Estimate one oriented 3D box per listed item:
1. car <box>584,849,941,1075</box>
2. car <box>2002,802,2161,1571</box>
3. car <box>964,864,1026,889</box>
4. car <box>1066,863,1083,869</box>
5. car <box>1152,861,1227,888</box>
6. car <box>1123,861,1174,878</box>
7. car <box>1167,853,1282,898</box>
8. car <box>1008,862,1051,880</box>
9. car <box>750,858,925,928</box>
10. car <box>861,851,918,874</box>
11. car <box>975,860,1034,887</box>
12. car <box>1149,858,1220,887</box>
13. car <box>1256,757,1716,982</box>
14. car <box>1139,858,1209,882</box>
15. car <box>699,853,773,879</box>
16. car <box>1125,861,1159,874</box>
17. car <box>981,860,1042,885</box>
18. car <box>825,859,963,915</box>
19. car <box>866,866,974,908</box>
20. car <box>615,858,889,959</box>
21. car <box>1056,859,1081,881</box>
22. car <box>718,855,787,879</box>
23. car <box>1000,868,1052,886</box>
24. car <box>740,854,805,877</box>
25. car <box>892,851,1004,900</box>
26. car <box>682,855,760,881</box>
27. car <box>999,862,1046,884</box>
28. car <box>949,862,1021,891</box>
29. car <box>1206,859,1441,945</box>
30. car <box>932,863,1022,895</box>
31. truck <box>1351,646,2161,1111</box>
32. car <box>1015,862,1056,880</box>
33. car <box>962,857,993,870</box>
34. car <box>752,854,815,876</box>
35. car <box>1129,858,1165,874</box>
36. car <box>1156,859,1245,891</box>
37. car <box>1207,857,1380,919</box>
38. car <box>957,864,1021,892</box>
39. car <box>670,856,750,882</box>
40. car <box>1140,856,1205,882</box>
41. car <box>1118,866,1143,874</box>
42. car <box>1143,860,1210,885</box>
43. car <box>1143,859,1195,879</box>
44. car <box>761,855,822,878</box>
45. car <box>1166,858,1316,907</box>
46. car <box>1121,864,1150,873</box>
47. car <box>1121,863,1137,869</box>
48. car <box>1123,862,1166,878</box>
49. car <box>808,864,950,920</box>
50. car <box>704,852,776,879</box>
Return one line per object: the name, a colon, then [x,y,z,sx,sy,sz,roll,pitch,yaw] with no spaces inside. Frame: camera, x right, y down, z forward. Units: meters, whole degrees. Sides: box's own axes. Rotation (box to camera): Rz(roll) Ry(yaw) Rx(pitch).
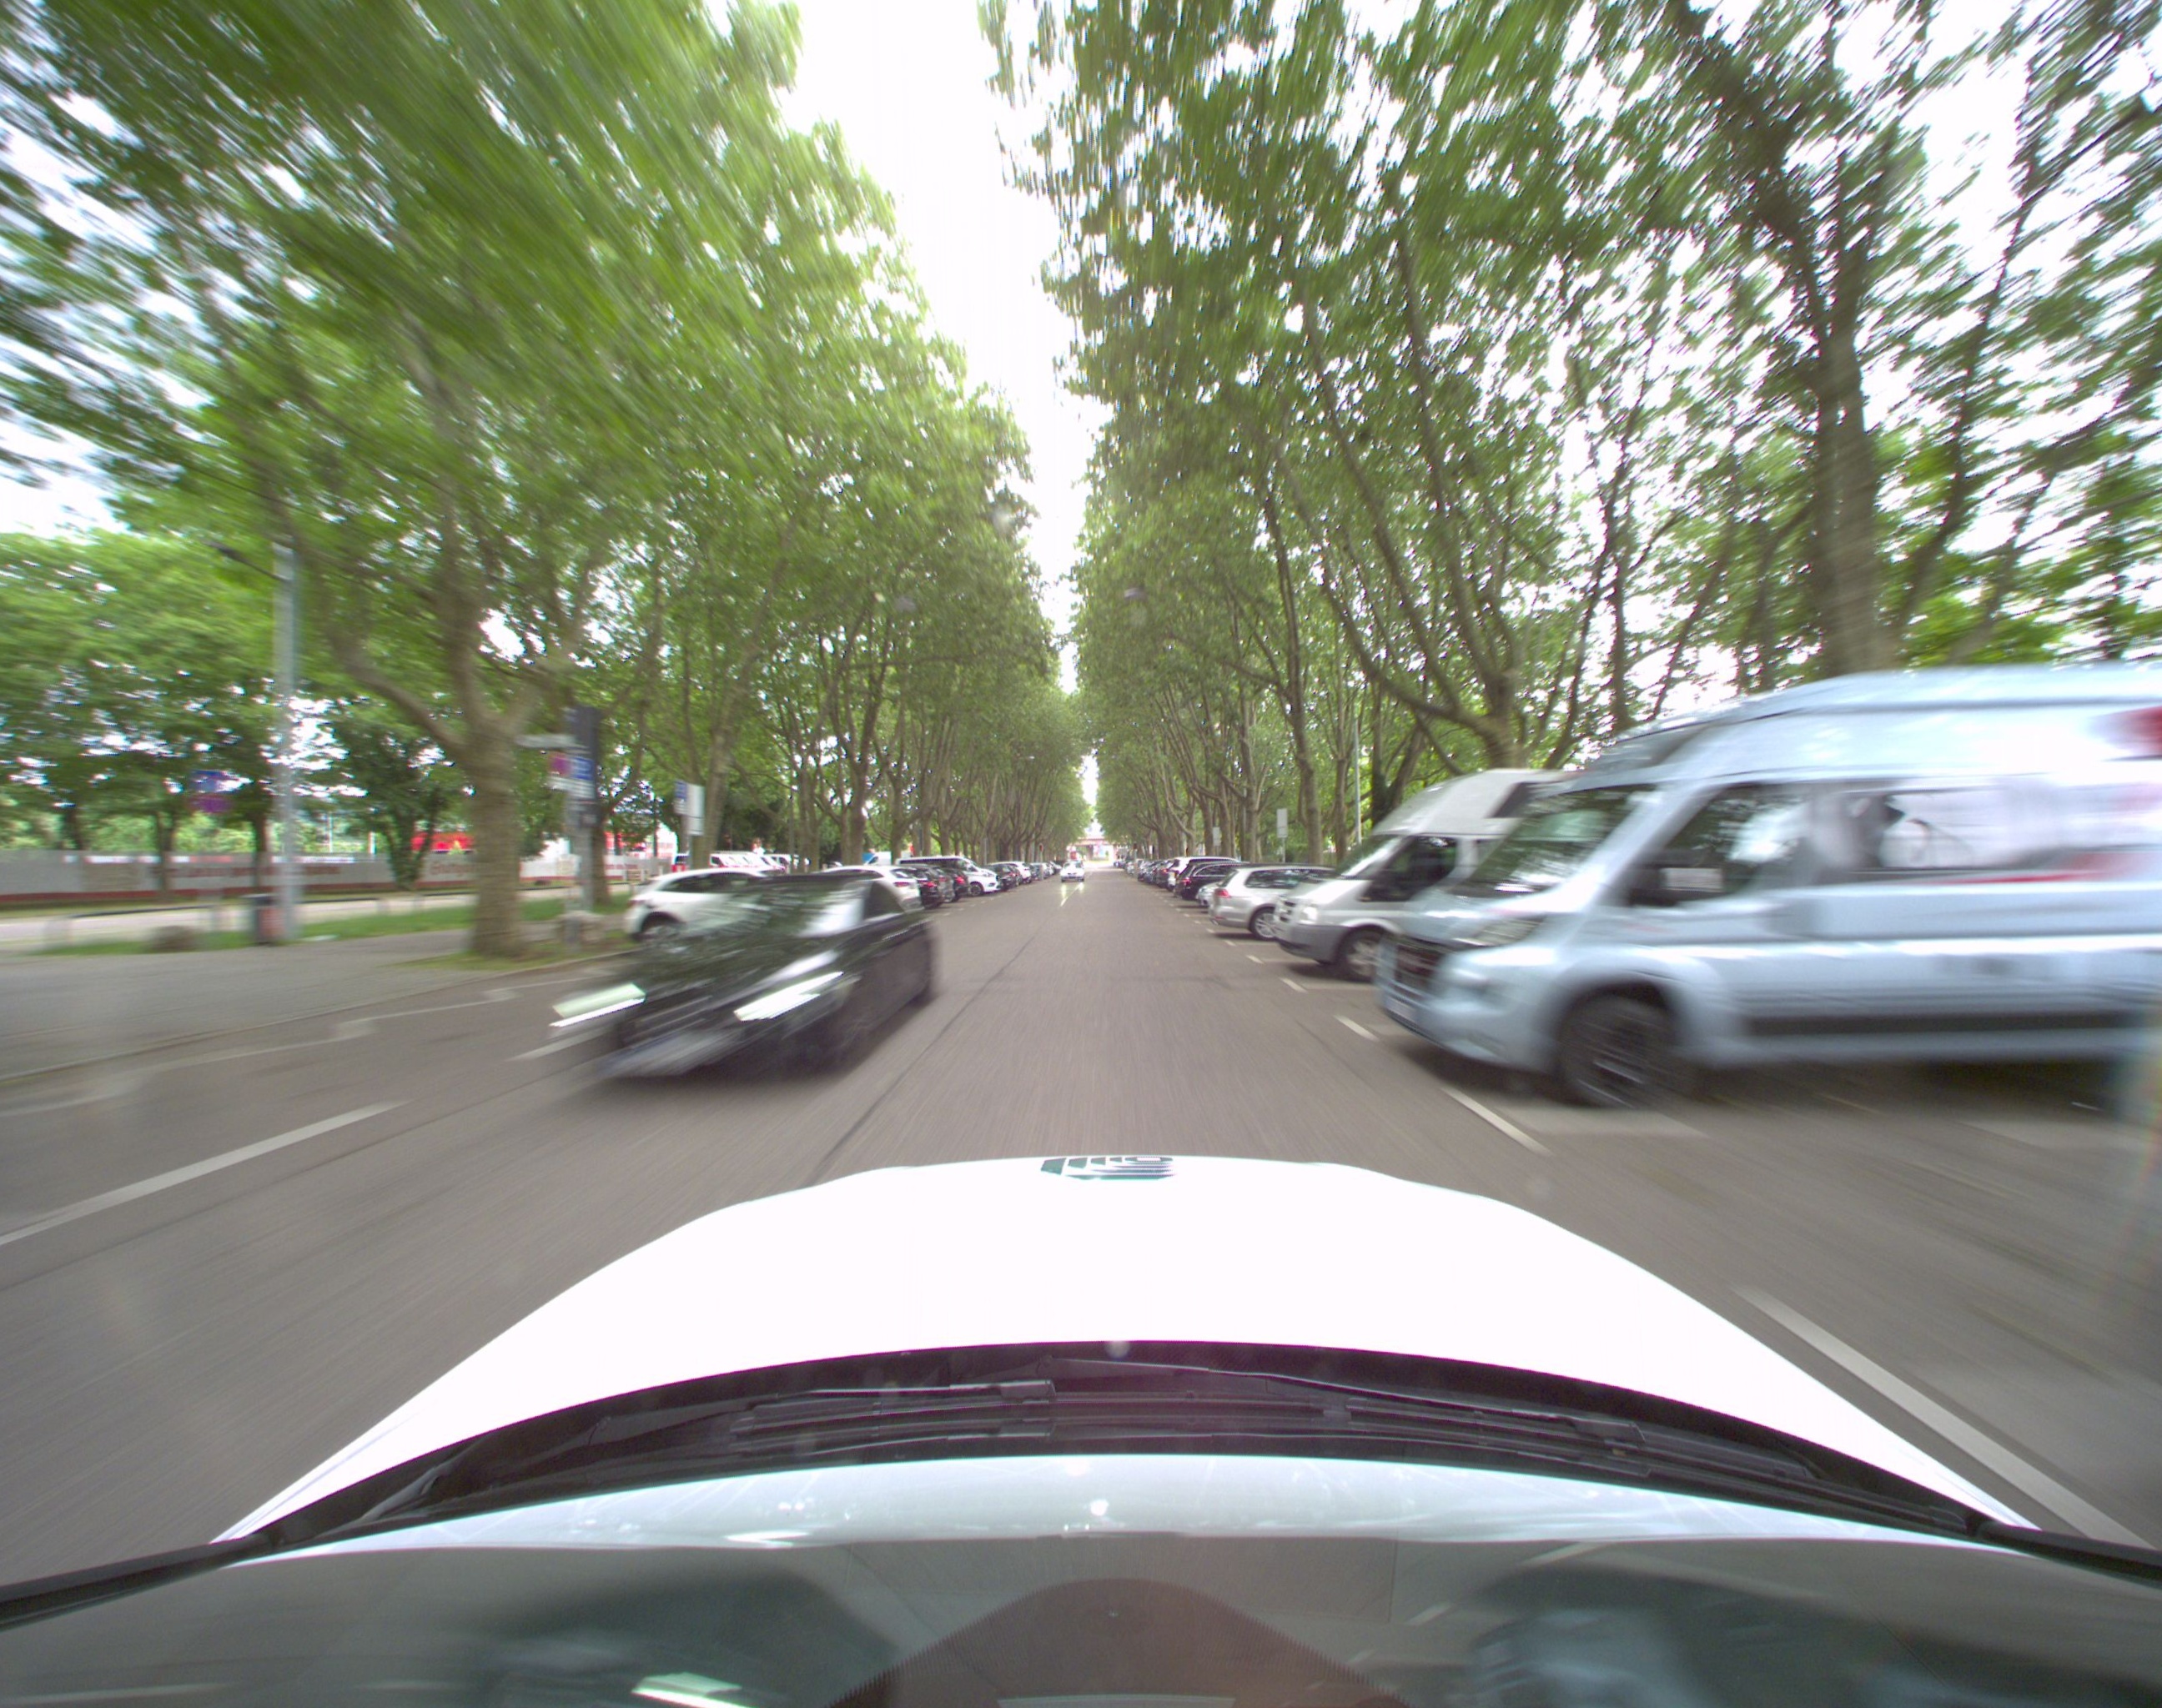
car: [-2.417,0.718,7.354,1.650,1.364,4.109,-3,-1,-2]
car: [4.394,0.730,1.004,4.321,1.618,1.805,1,-1,4]
car: [-5.586,1.465,53.347,3.817,1.471,1.693,-3,-1,-2]
car: [-1.517,2.838,195.331,3.796,1.515,1.688,-1,-1,4]
car: [5.762,1.071,43.579,3.815,1.389,1.694,0,-1,-1]
car: [5.837,1.320,70.809,4.286,1.470,1.622,0,-1,-2]
car: [5.770,0.858,33.110,4.371,1.755,1.800,0,-1,-1]
car: [-4.612,1.548,73.303,3.817,1.430,1.693,-3,-1,-2]
car: [-6.919,1.082,23.488,4.327,1.667,1.999,-3,-1,-1]
car: [-21.010,0.938,89.611,5.764,2.597,2.001,0,-1,1]
car: [-5.173,1.319,55.753,3.817,1.627,1.951,-3,-1,-2]
car: [5.821,1.042,46.195,3.815,1.607,1.694,0,-1,-1]
car: [5.141,0.186,10.922,5.208,2.689,1.958,1,-1,2]
car: [5.827,1.005,51.243,4.198,1.451,1.610,0,-1,-1]
car: [-31.779,1.085,75.140,5.980,2.318,2.000,0,-1,1]
car: [6.824,1.552,91.201,3.636,1.424,1.984,0,-1,-2]
car: [-4.939,1.321,58.448,4.050,1.608,1.801,-3,-1,3]
car: [-6.535,1.126,28.868,4.327,1.667,1.999,-3,-1,-1]
car: [-6.493,1.307,33.136,3.975,1.413,1.682,-3,-1,-1]
car: [-6.141,0.980,15.631,4.366,1.597,1.999,-3,-1,-1]
car: [-0.887,1.169,59.589,1.683,1.471,3.839,-3,-1,0]
car: [-32.240,1.272,80.023,5.980,2.240,2.000,0,-1,1]
car: [-4.713,1.983,70.661,4.389,1.365,1.693,-3,-1,-2]
car: [-32.108,1.211,84.923,5.980,2.330,2.000,0,-1,1]
car: [-6.239,1.005,38.540,4.877,2.019,1.919,-3,-1,0]
car: [-31.960,1.242,72.387,5.980,2.252,2.000,0,-1,1]
car: [-4.874,1.565,68.249,3.817,1.608,1.693,-3,-1,-2]
car: [-5.652,1.327,48.246,3.985,1.471,1.536,-3,-1,-2]
car: [4.595,0.893,15.889,4.102,1.429,1.704,2,-1,3]
car: [-5.533,1.318,43.641,4.426,1.452,1.777,-3,-1,5]
truck: [5.395,0.148,5.811,6.272,2.715,2.098,0,-1,0]
car: [-4.405,1.628,78.694,3.817,1.497,1.693,-3,-1,-2]
car: [-17.616,1.587,138.967,5.061,2.232,1.535,0,-1,-1]
car: [-31.914,1.200,87.337,5.980,2.305,2.000,0,-1,1]
car: [6.928,1.261,86.055,3.636,1.667,1.518,0,-1,-2]
car: [5.582,0.979,38.404,3.974,1.486,1.694,0,-1,-1]
car: [5.434,0.847,21.131,4.032,1.526,1.814,0,-1,-1]
car: [-5.746,1.500,51.432,3.744,1.474,1.864,-3,-1,0]
car: [-31.809,1.283,69.915,5.980,2.252,2.000,0,-1,1]
car: [5.968,0.987,53.339,4.098,1.670,1.695,0,-1,1]
car: [8.513,2.758,140.101,4.154,1.442,1.734,0,-1,6]
car: [5.663,1.101,48.572,3.815,1.455,1.694,0,-1,-1]
car: [6.552,1.093,60.993,3.762,1.470,1.667,0,-1,0]
car: [-31.902,1.375,89.948,5.980,2.527,2.000,0,-1,1]
car: [5.079,0.887,26.240,4.488,1.526,1.702,0,-1,-1]
car: [8.880,2.383,132.853,4.551,1.487,2.003,0,-1,6]
car: [12.628,3.272,214.558,4.359,1.523,1.732,0,-1,2]
car: [6.266,1.552,80.864,4.156,1.596,1.853,0,-1,-2]
car: [-6.375,1.185,26.040,3.975,1.475,1.842,-3,-1,-1]
car: [-32.484,1.079,77.769,5.980,2.527,2.000,0,-1,1]
